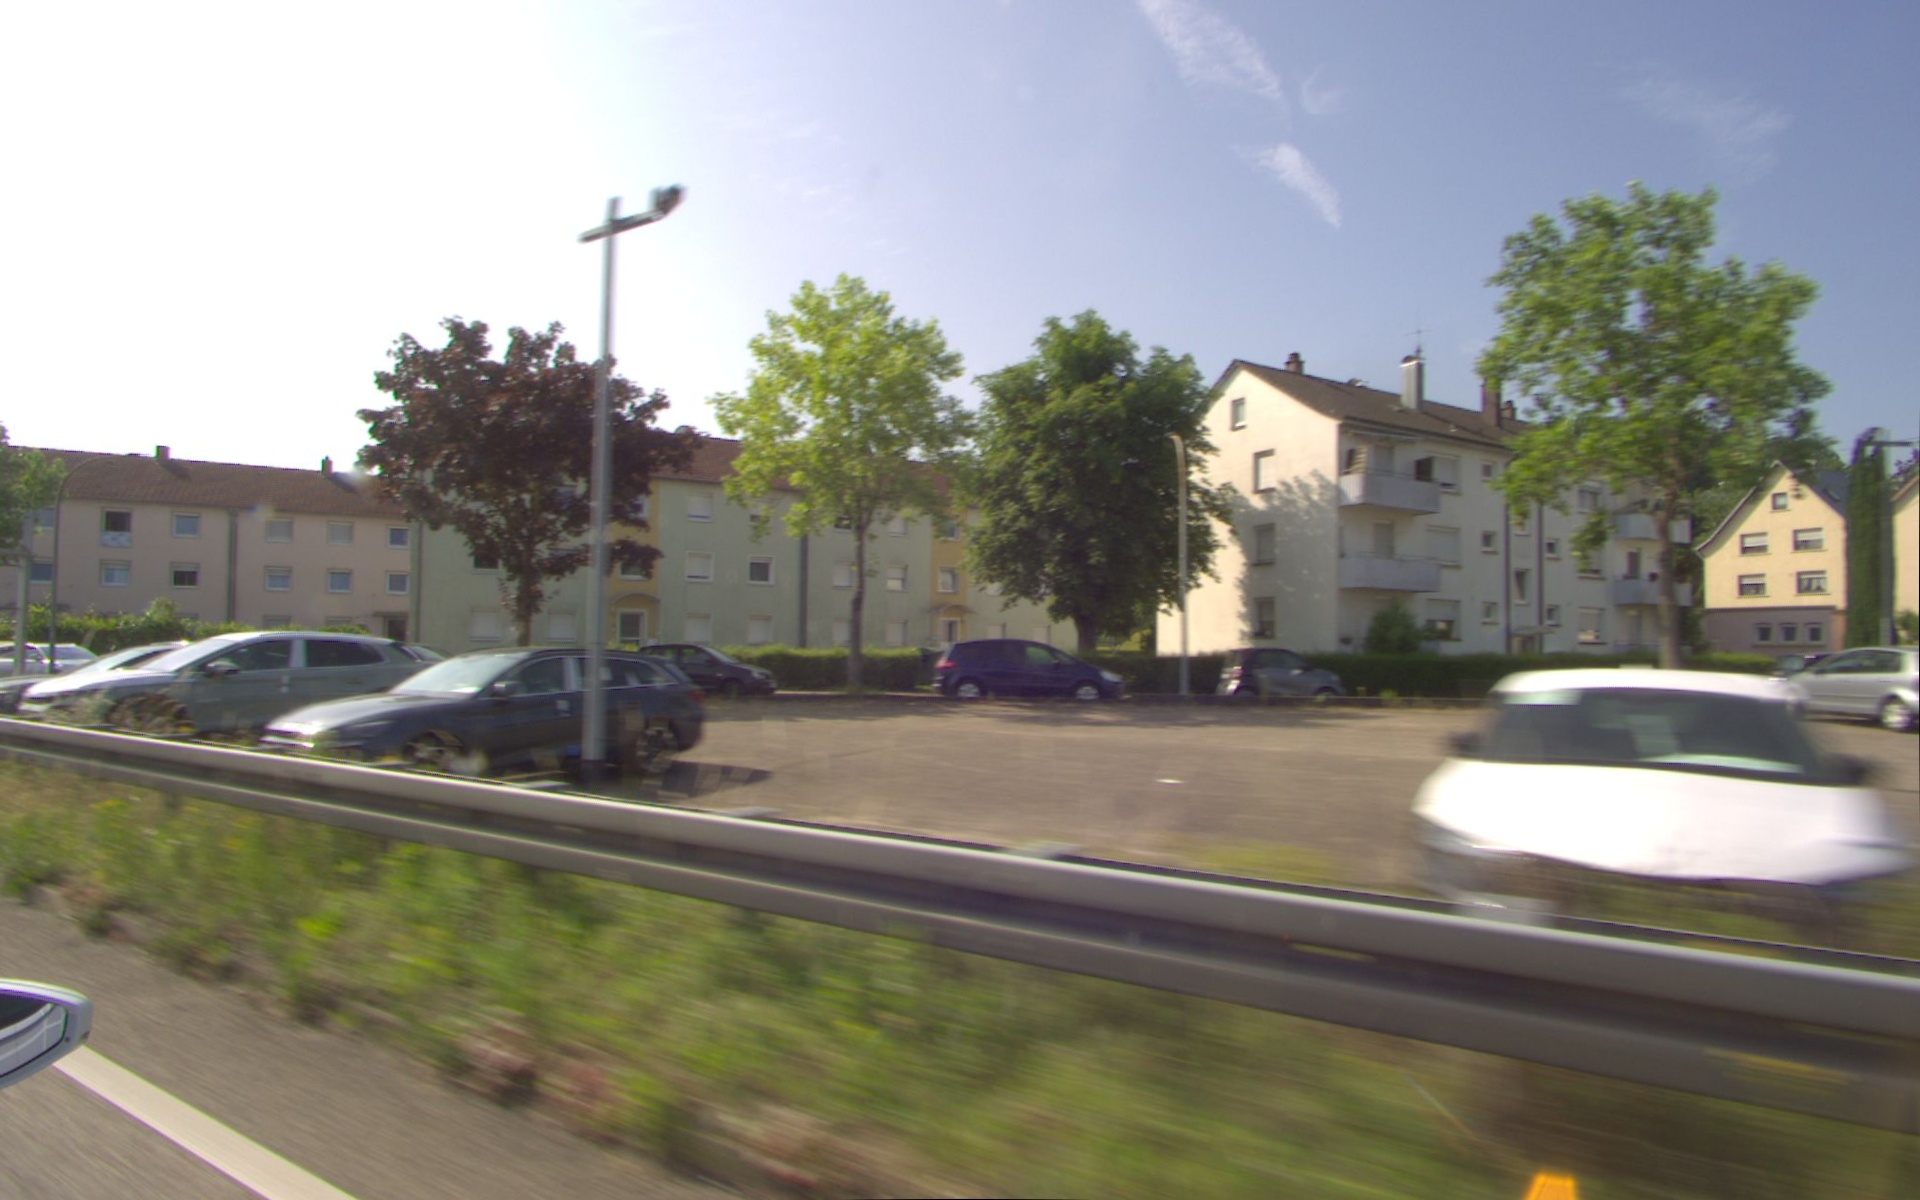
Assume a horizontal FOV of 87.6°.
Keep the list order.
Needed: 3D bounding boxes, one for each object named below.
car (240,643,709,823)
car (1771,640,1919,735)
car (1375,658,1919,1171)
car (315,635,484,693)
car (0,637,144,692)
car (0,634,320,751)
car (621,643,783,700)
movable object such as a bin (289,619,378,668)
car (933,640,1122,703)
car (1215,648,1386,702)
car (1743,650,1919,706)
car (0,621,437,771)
[{"bbox_3d":[-4.792,1.203,10.593,1.604,1.462,4.315,-1,-2,31],"label":"car"},{"bbox_3d":[16.836,1.512,18.109,1.625,1.541,3.767,0,-2,7],"label":"car"},{"bbox_3d":[3.478,1.117,5.287,1.674,1.541,3.979,-1,-2,33],"label":"car"},{"bbox_3d":[-14.815,1.668,26.564,3.592,1.423,1.710,1,-2,9],"label":"car"},{"bbox_3d":[-25.835,1.795,28.489,4.356,1.438,1.788,0,-2,14],"label":"car"},{"bbox_3d":[-12.199,1.321,14.867,1.857,1.501,4.142,-1,-4,35],"label":"car"},{"bbox_3d":[-6.483,1.773,25.336,3.592,1.384,1.656,0,-2,9],"label":"car"},{"bbox_3d":[-31.627,2.229,50.682,3.473,2.385,1.584,1,-5,-19],"label":"movable object such as a bin"},{"bbox_3d":[1.690,1.703,24.419,4.438,1.423,1.915,0,-2,9],"label":"car"},{"bbox_3d":[7.967,1.749,23.697,3.592,1.201,1.594,0,-2,9],"label":"car"},{"bbox_3d":[20.284,1.750,22.775,3.591,1.201,1.595,0,-2,5],"label":"car"},{"bbox_3d":[-9.752,1.160,13.508,2.110,1.660,4.311,-1,-2,33],"label":"car"}]
